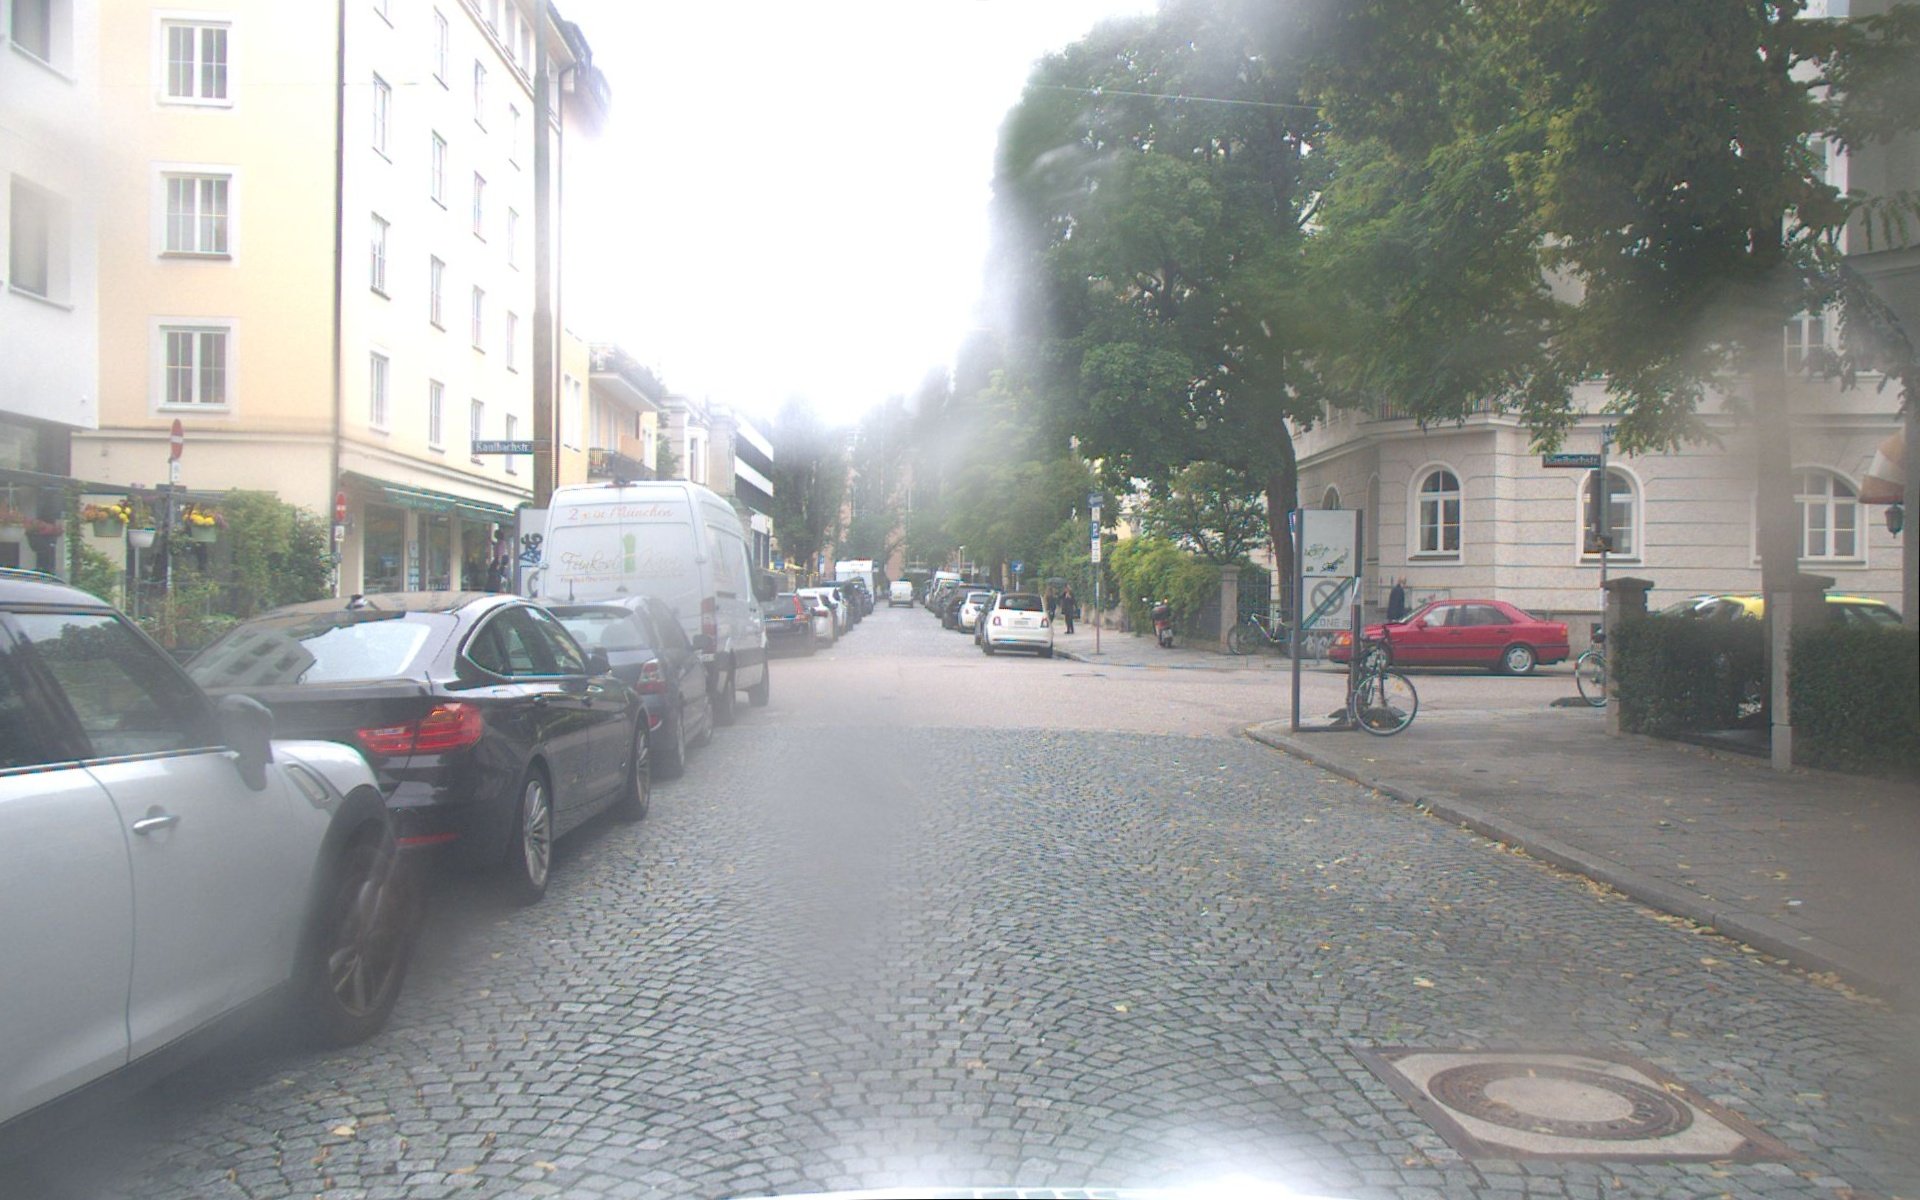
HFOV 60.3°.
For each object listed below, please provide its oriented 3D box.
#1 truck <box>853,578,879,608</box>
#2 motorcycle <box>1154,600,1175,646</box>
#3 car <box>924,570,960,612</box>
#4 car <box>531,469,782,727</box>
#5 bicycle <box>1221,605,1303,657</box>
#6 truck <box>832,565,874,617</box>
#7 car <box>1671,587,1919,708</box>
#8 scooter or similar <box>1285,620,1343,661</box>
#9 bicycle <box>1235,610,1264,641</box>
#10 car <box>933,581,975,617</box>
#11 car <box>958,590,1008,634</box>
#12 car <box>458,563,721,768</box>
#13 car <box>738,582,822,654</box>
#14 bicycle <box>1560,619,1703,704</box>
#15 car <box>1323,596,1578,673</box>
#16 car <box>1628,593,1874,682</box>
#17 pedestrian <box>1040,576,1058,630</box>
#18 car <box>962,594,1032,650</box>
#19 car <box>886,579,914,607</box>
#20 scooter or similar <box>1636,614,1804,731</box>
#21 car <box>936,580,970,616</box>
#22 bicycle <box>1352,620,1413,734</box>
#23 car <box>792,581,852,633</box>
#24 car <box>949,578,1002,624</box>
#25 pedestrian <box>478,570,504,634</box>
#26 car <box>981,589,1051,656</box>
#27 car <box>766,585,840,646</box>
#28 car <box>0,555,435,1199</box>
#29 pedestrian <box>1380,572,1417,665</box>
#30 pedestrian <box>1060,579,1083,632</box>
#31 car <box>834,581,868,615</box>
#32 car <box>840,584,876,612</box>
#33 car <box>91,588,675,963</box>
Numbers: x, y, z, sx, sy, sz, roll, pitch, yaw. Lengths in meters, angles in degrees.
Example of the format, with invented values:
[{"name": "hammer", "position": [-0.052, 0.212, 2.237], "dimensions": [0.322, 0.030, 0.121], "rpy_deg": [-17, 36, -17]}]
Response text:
[{"name": "truck", "position": [-7.498, -0.553, 132.697], "dimensions": [1.953, 2.388, 4.066], "rpy_deg": [1, 0, -2]}, {"name": "motorcycle", "position": [5.092, 0.565, 41.204], "dimensions": [0.355, 1.109, 1.403], "rpy_deg": [1, 0, 0]}, {"name": "car", "position": [-1.171, -0.577, 105.004], "dimensions": [1.857, 2.468, 5.608], "rpy_deg": [4, 1, -3]}, {"name": "car", "position": [-3.440, -0.024, 19.969], "dimensions": [1.937, 2.619, 5.793], "rpy_deg": [-1, 0, 0]}, {"name": "bicycle", "position": [6.760, 0.683, 37.091], "dimensions": [1.798, 1.144, 0.563], "rpy_deg": [0, 0, 10]}, {"name": "truck", "position": [-6.686, -0.589, 103.972], "dimensions": [2.458, 3.084, 6.380], "rpy_deg": [-1, 1, -3]}, {"name": "car", "position": [12.574, 0.663, 23.760], "dimensions": [3.987, 1.625, 1.907], "rpy_deg": [1, 0, 9]}, {"name": "scooter or similar", "position": [7.714, 0.875, 36.070], "dimensions": [1.158, 0.863, 0.925], "rpy_deg": [1, 0, 7]}, {"name": "bicycle", "position": [8.167, 0.717, 46.729], "dimensions": [0.481, 0.826, 2.274], "rpy_deg": [1, 0, 2]}, {"name": "car", "position": [-0.342, -0.069, 86.618], "dimensions": [1.924, 1.789, 4.951], "rpy_deg": [1, 0, -3]}, {"name": "car", "position": [0.822, 0.413, 61.019], "dimensions": [1.597, 1.495, 3.657], "rpy_deg": [3, 0, -2]}, {"name": "car", "position": [-3.045, 0.493, 14.338], "dimensions": [1.629, 1.508, 3.979], "rpy_deg": [1, 0, -4]}, {"name": "car", "position": [-4.310, 0.410, 40.161], "dimensions": [1.815, 1.614, 4.744], "rpy_deg": [1, 0, -4]}, {"name": "bicycle", "position": [8.935, 0.827, 22.060], "dimensions": [1.568, 1.088, 0.739], "rpy_deg": [-1, -3, 1]}, {"name": "car", "position": [9.210, 0.623, 31.352], "dimensions": [4.373, 1.381, 1.761], "rpy_deg": [0, 0, 5]}, {"name": "car", "position": [14.589, 0.677, 30.635], "dimensions": [3.805, 1.548, 1.566], "rpy_deg": [1, 0, 3]}, {"name": "pedestrian", "position": [3.094, 0.104, 57.418], "dimensions": [0.563, 1.882, 0.682], "rpy_deg": [0, 0, 5]}, {"name": "car", "position": [1.041, 0.624, 48.460], "dimensions": [1.615, 1.446, 4.629], "rpy_deg": [4, 0, -3]}, {"name": "car", "position": [-4.317, -0.472, 119.506], "dimensions": [1.956, 1.970, 3.999], "rpy_deg": [1, 0, -1]}, {"name": "scooter or similar", "position": [7.970, 0.744, 17.393], "dimensions": [1.569, 1.193, 0.405], "rpy_deg": [0, -1, 21]}, {"name": "car", "position": [-0.444, -0.133, 99.662], "dimensions": [1.764, 1.983, 4.857], "rpy_deg": [3, 0, -3]}, {"name": "bicycle", "position": [4.585, 0.814, 18.009], "dimensions": [0.380, 1.167, 1.590], "rpy_deg": [0, 0, 5]}, {"name": "car", "position": [-4.672, 0.243, 56.527], "dimensions": [1.738, 1.676, 4.390], "rpy_deg": [1, 0, -1]}, {"name": "car", "position": [0.580, 0.038, 66.108], "dimensions": [1.837, 1.702, 5.488], "rpy_deg": [1, 0, -2]}, {"name": "pedestrian", "position": [-12.502, 0.053, 44.126], "dimensions": [0.511, 1.671, 0.629], "rpy_deg": [1, 0, -3]}, {"name": "car", "position": [1.325, 0.522, 40.358], "dimensions": [1.471, 1.496, 3.794], "rpy_deg": [2, 0, -1]}, {"name": "car", "position": [-4.245, 0.396, 45.207], "dimensions": [1.738, 1.563, 4.538], "rpy_deg": [1, 0, -2]}, {"name": "car", "position": [-2.763, 0.662, 4.096], "dimensions": [1.658, 1.530, 3.777], "rpy_deg": [1, 0, 1]}, {"name": "pedestrian", "position": [9.138, 0.381, 34.448], "dimensions": [0.484, 1.909, 0.741], "rpy_deg": [1, 0, -7]}, {"name": "pedestrian", "position": [3.894, 0.199, 57.830], "dimensions": [0.618, 1.840, 0.657], "rpy_deg": [1, 0, -16]}, {"name": "car", "position": [-5.711, -0.109, 87.107], "dimensions": [1.738, 1.748, 4.388], "rpy_deg": [1, 0, -3]}, {"name": "car", "position": [-5.689, -0.114, 92.478], "dimensions": [1.901, 1.485, 4.055], "rpy_deg": [1, 0, -3]}, {"name": "car", "position": [-2.767, 0.707, 9.077], "dimensions": [1.691, 1.490, 4.472], "rpy_deg": [-2, 0, -1]}]
